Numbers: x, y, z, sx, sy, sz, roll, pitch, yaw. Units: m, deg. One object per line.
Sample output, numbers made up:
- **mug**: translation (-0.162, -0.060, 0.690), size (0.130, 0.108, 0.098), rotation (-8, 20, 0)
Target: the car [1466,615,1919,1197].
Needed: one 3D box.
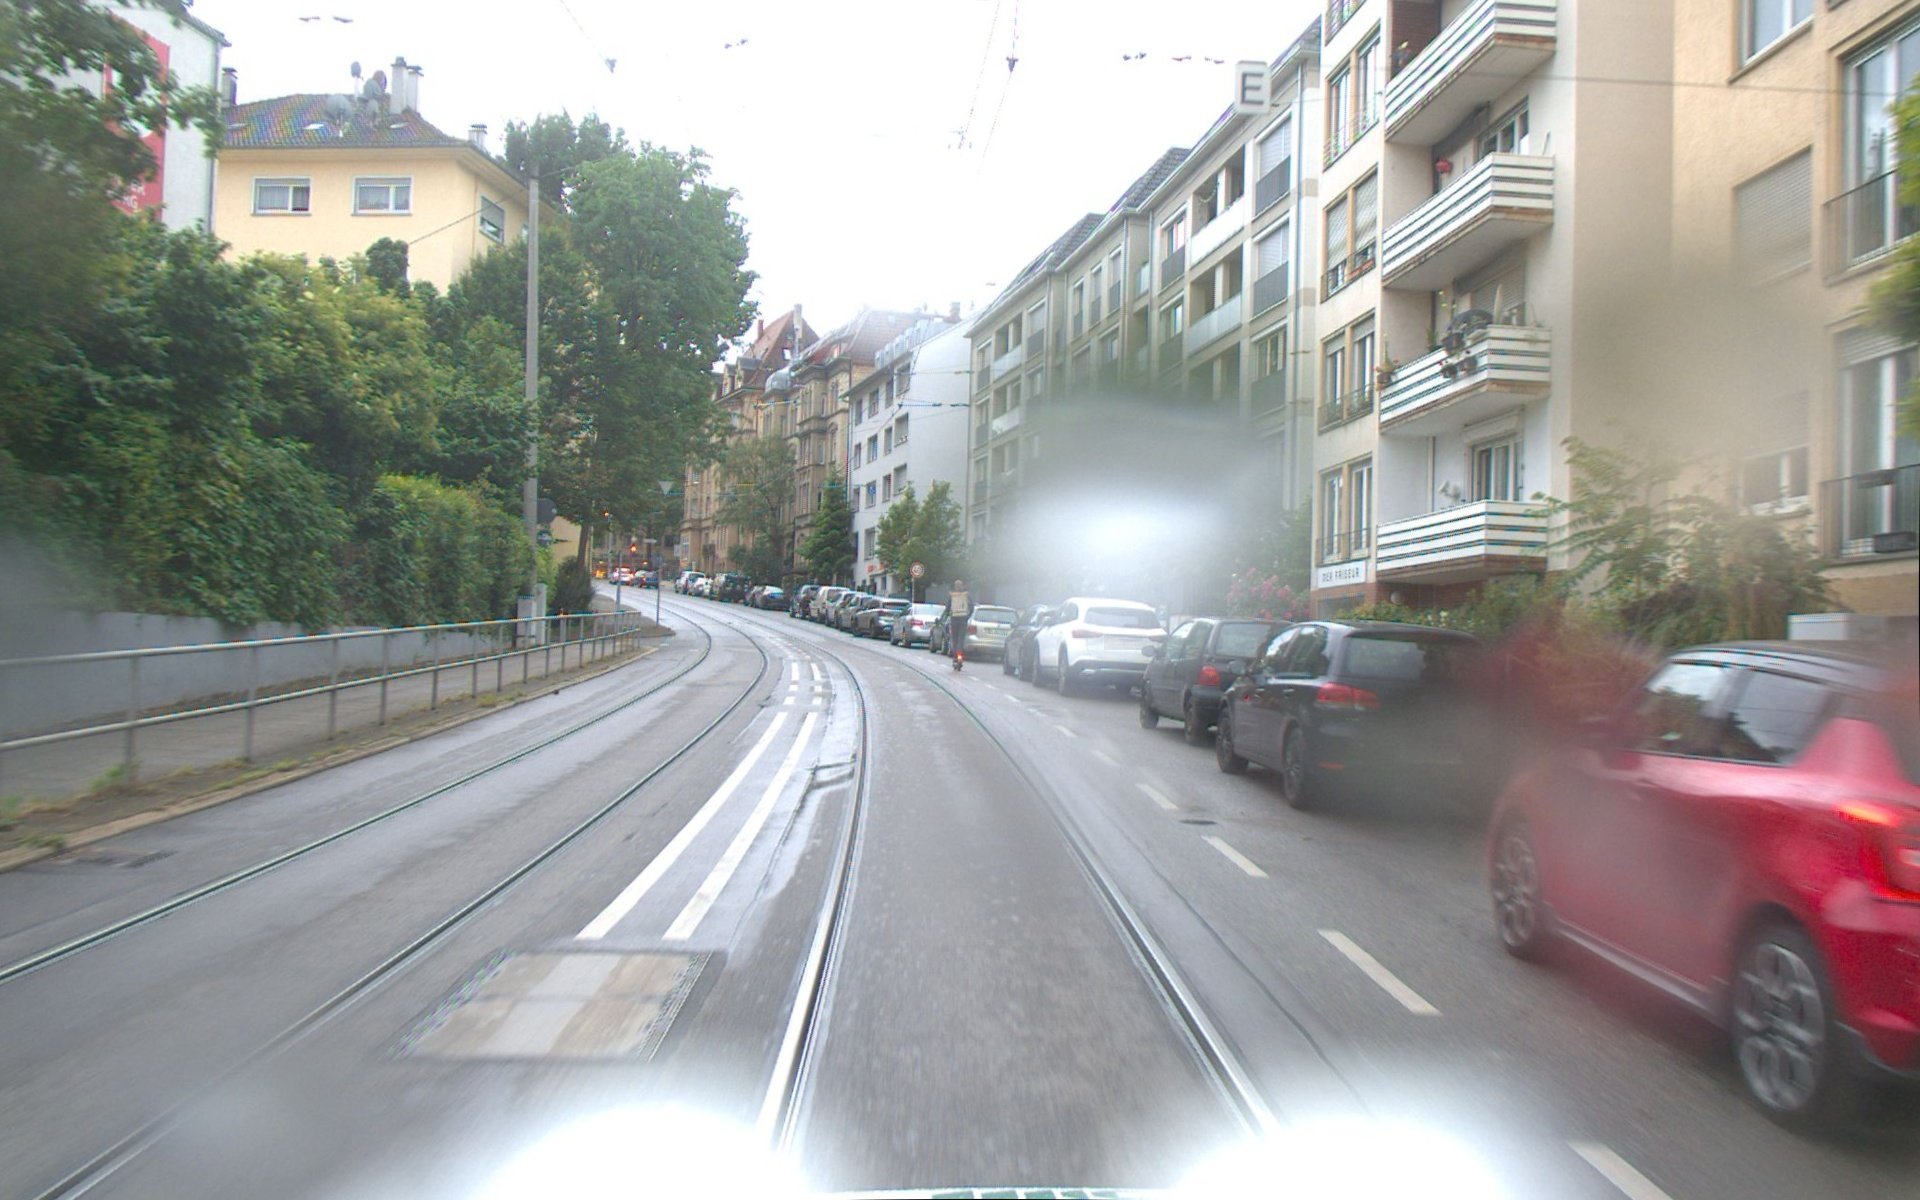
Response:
- **car**: translation (3.385, 0.857, 6.286), size (1.687, 1.462, 3.841), rotation (2, 1, 0)

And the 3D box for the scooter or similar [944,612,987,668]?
- **scooter or similar**: translation (0.099, 0.831, 34.898), size (0.504, 1.067, 2.004), rotation (4, 0, -10)

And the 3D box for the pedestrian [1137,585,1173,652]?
- **pedestrian**: translation (4.716, 0.439, 40.047), size (0.559, 1.569, 0.926), rotation (-1, 1, -14)

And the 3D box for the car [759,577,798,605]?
- **car**: translation (-11.151, -0.577, 101.278), size (1.737, 1.544, 4.124), rotation (3, 1, -15)

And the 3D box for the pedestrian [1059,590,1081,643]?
- **pedestrian**: translation (3.275, 0.492, 49.239), size (0.558, 1.569, 0.650), rotation (-1, 1, -5)

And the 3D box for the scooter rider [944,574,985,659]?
- **scooter rider**: translation (0.091, 0.339, 34.824), size (0.612, 1.735, 0.842), rotation (4, 0, -10)

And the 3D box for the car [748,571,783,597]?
- **car**: translation (-12.482, -1.063, 106.079), size (1.623, 1.562, 3.872), rotation (-1, 2, -16)

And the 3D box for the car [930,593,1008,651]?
- **car**: translation (0.224, 0.628, 49.293), size (1.670, 1.538, 3.706), rotation (3, 1, -10)

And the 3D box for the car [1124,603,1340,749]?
- **car**: translation (3.160, 0.832, 20.017), size (1.526, 1.462, 4.299), rotation (2, 1, -5)

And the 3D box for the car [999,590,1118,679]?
- **car**: translation (1.938, 0.647, 33.782), size (1.669, 1.538, 4.566), rotation (4, 0, -5)

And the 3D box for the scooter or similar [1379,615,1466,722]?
- **scooter or similar**: translation (5.772, 0.836, 20.691), size (0.461, 1.256, 1.193), rotation (-1, 2, -19)

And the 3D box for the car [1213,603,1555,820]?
- **car**: translation (3.410, 0.821, 14.098), size (1.650, 1.462, 4.062), rotation (2, 1, -3)

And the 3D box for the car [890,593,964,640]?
- **car**: translation (-1.176, 0.531, 56.452), size (1.731, 1.460, 4.626), rotation (1, 0, -12)

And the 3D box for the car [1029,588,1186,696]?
- **car**: translation (2.471, 0.665, 28.697), size (1.802, 1.600, 4.242), rotation (4, 0, -7)

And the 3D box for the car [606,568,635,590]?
- **car**: translation (-30.534, -1.895, 148.710), size (1.830, 1.764, 4.113), rotation (3, 1, -22)

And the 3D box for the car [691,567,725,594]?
- **car**: translation (-19.226, -1.487, 125.902), size (1.995, 1.856, 4.122), rotation (3, 1, -16)

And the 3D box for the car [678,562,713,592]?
- **car**: translation (-20.920, -1.817, 130.588), size (1.997, 2.256, 4.118), rotation (3, 1, -18)

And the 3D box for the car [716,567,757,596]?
- **car**: translation (-15.552, -1.315, 114.940), size (1.997, 1.856, 4.345), rotation (3, 1, -19)

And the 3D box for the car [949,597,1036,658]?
- **car**: translation (0.818, 0.716, 44.809), size (1.630, 1.497, 4.500), rotation (3, 0, -8)

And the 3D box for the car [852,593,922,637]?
- **car**: translation (-2.962, 0.558, 65.974), size (1.739, 1.643, 4.227), rotation (1, 0, -18)

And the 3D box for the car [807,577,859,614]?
- **car**: translation (-6.446, -0.254, 83.328), size (1.738, 1.713, 4.230), rotation (3, 1, -16)

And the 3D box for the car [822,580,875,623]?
- **car**: translation (-5.230, 0.067, 77.291), size (1.736, 1.818, 4.234), rotation (3, 1, -13)

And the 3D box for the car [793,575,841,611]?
- **car**: translation (-7.621, -0.401, 87.872), size (1.737, 1.713, 4.232), rotation (3, 1, -15)

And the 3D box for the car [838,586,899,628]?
- **car**: translation (-4.020, 0.273, 72.072), size (1.737, 1.643, 4.231), rotation (3, 1, -15)

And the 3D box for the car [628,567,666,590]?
- **car**: translation (-27.256, -1.858, 143.752), size (2.006, 1.764, 4.100), rotation (3, 1, -29)
